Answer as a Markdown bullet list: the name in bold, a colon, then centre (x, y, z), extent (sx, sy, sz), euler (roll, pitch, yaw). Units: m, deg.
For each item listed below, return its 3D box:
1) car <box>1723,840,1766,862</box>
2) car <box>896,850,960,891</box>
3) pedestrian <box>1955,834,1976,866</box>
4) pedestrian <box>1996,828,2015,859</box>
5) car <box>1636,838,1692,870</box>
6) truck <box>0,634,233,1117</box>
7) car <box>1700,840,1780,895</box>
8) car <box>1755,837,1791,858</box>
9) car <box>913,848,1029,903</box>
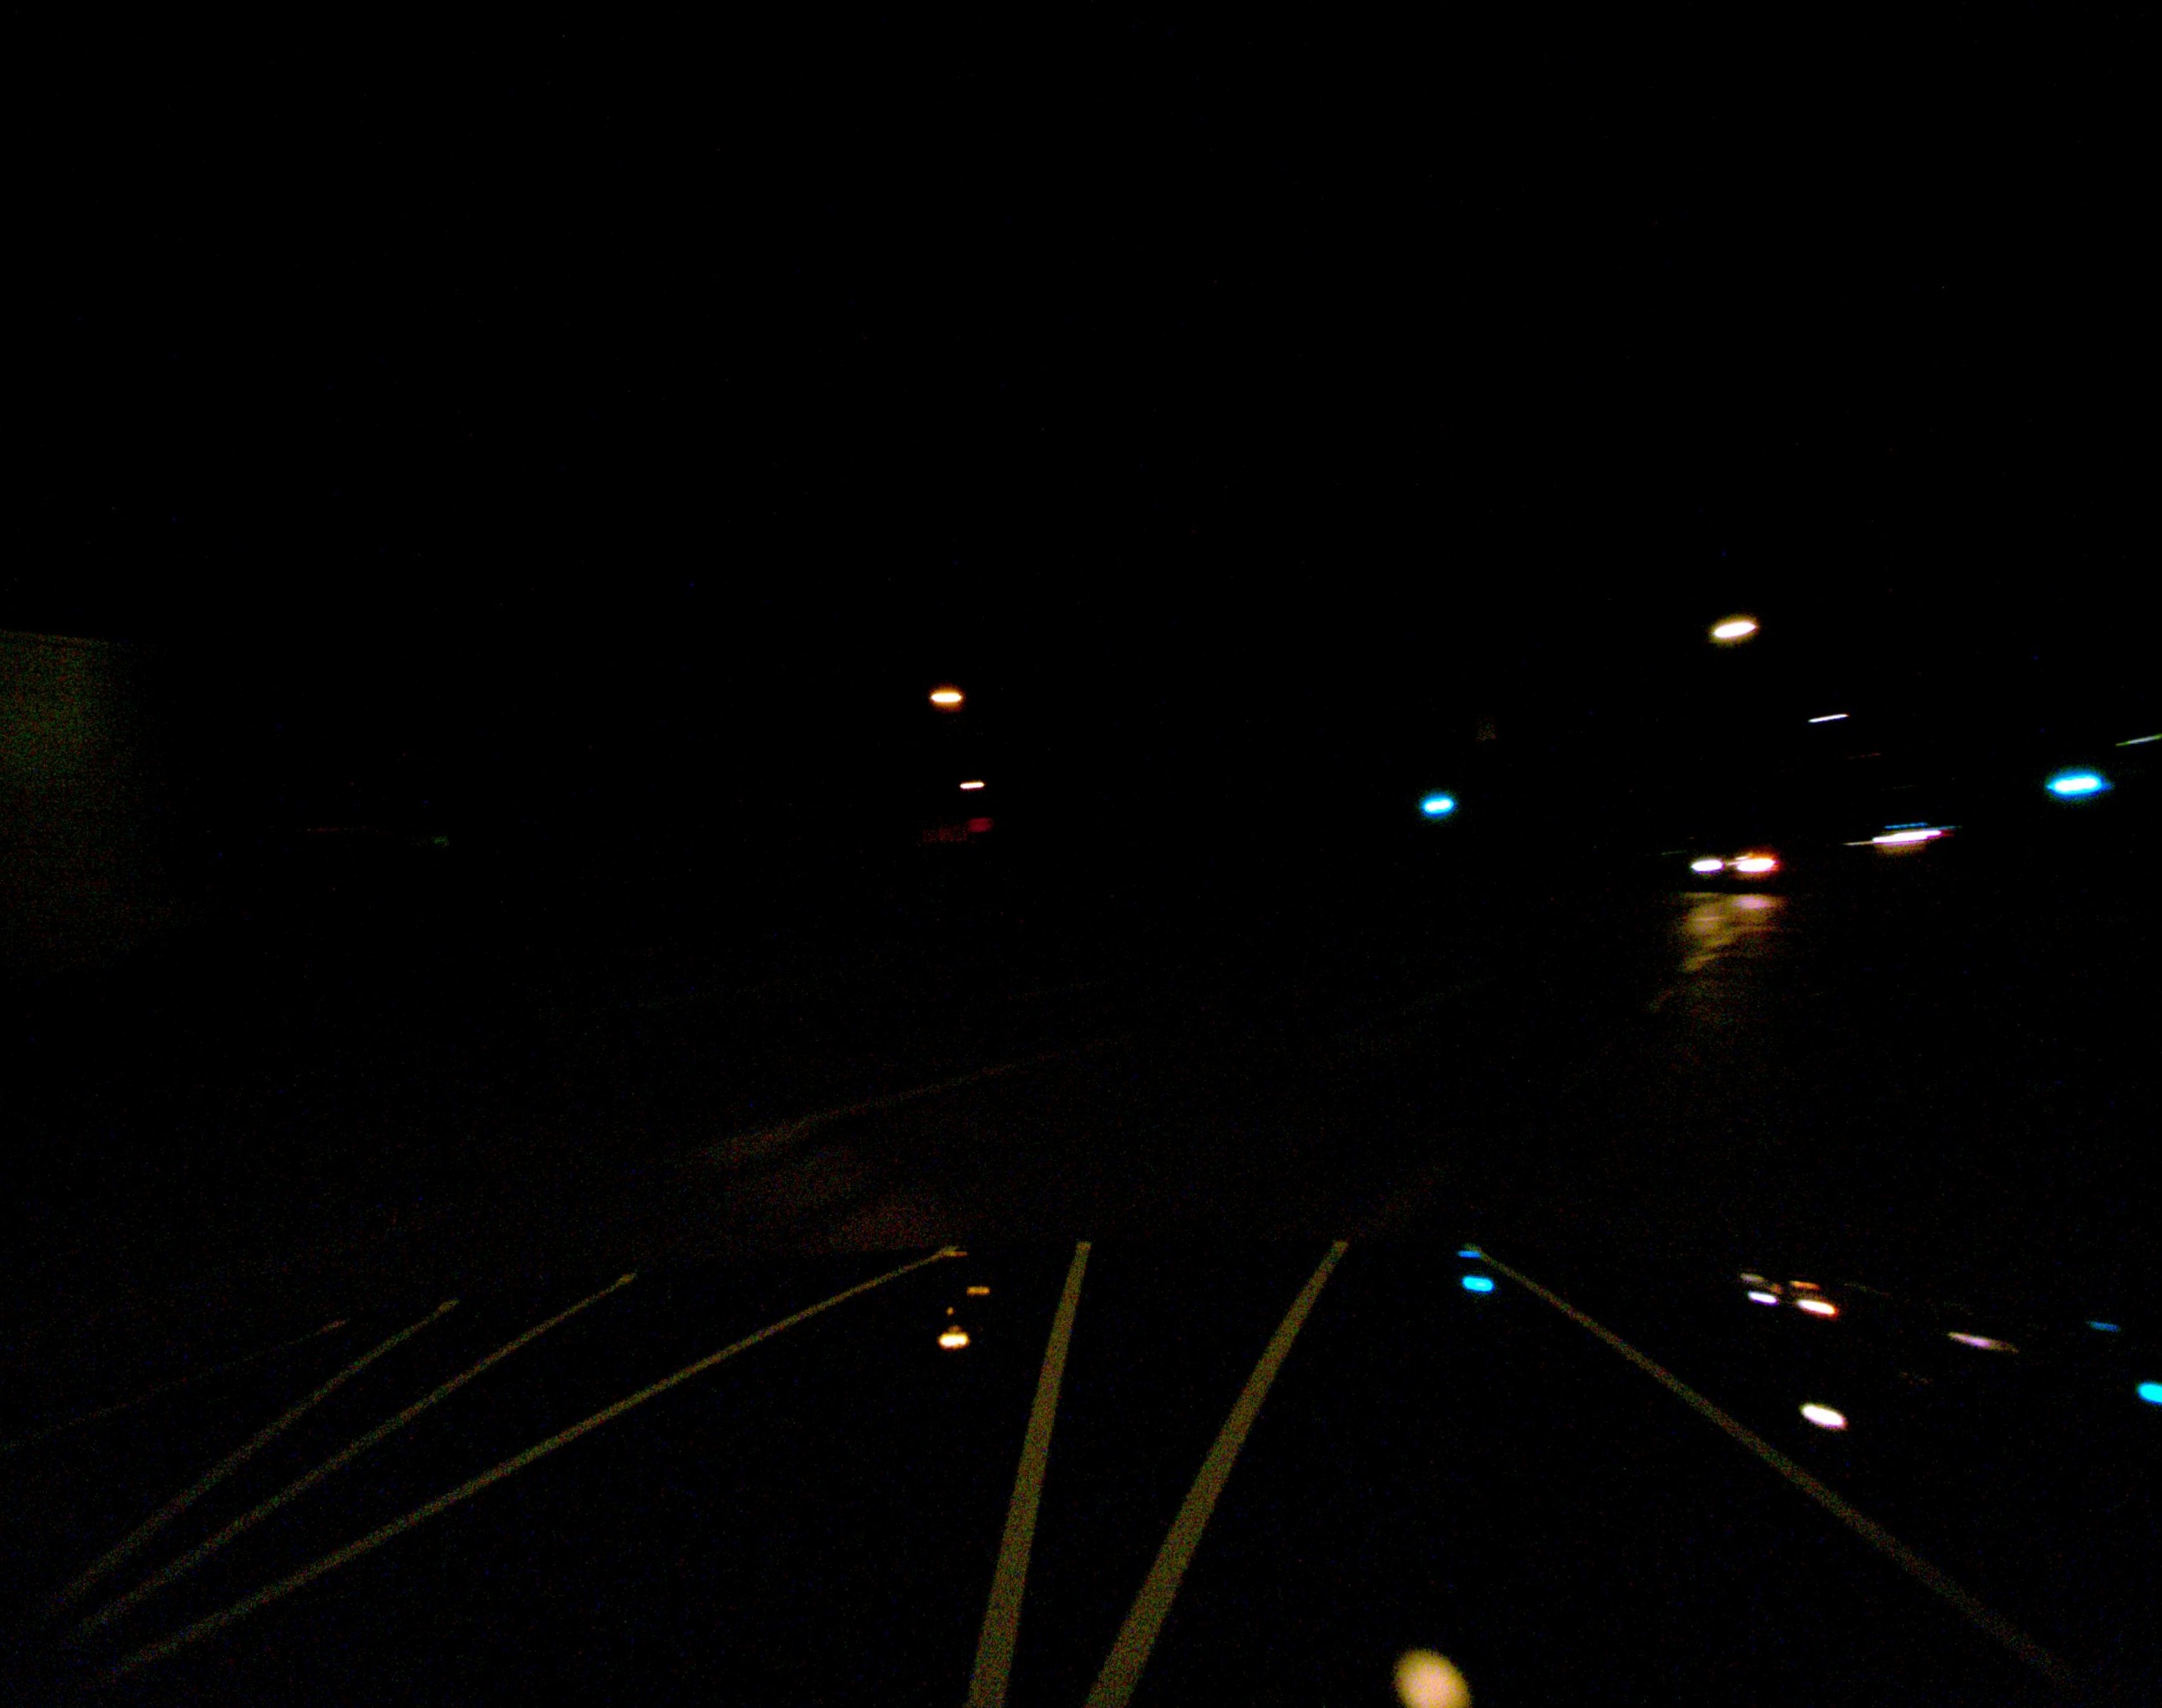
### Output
- **car**: centre (43.815, -0.219, 50.159), extent (3.415, 1.408, 1.532), euler (-1, 3, -40)
- **car**: centre (-6.104, 0.585, 29.919), extent (1.881, 1.379, 4.070), euler (-3, 1, -19)
- **pedestrian**: centre (45.601, -0.201, 39.175), extent (0.749, 1.632, 0.648), euler (-2, 1, -39)
- **pedestrian**: centre (46.511, -0.533, 38.221), extent (0.591, 1.521, 0.560), euler (-2, 2, -41)
- **car**: centre (29.282, -0.039, 38.122), extent (3.415, 1.486, 1.622), euler (-2, 3, -43)
- **truck**: centre (-9.848, 0.163, 3.845), extent (7.049, 3.028, 2.764), euler (-2, 4, -42)
- **car**: centre (20.029, 0.381, 23.064), extent (3.055, 1.492, 1.510), euler (-2, 1, -43)
- **car**: centre (53.871, -0.537, 59.124), extent (3.563, 1.584, 1.532), euler (-1, 3, -40)
- **car**: centre (-3.646, 0.633, 24.509), extent (2.056, 1.547, 4.244), euler (-3, 1, -33)
